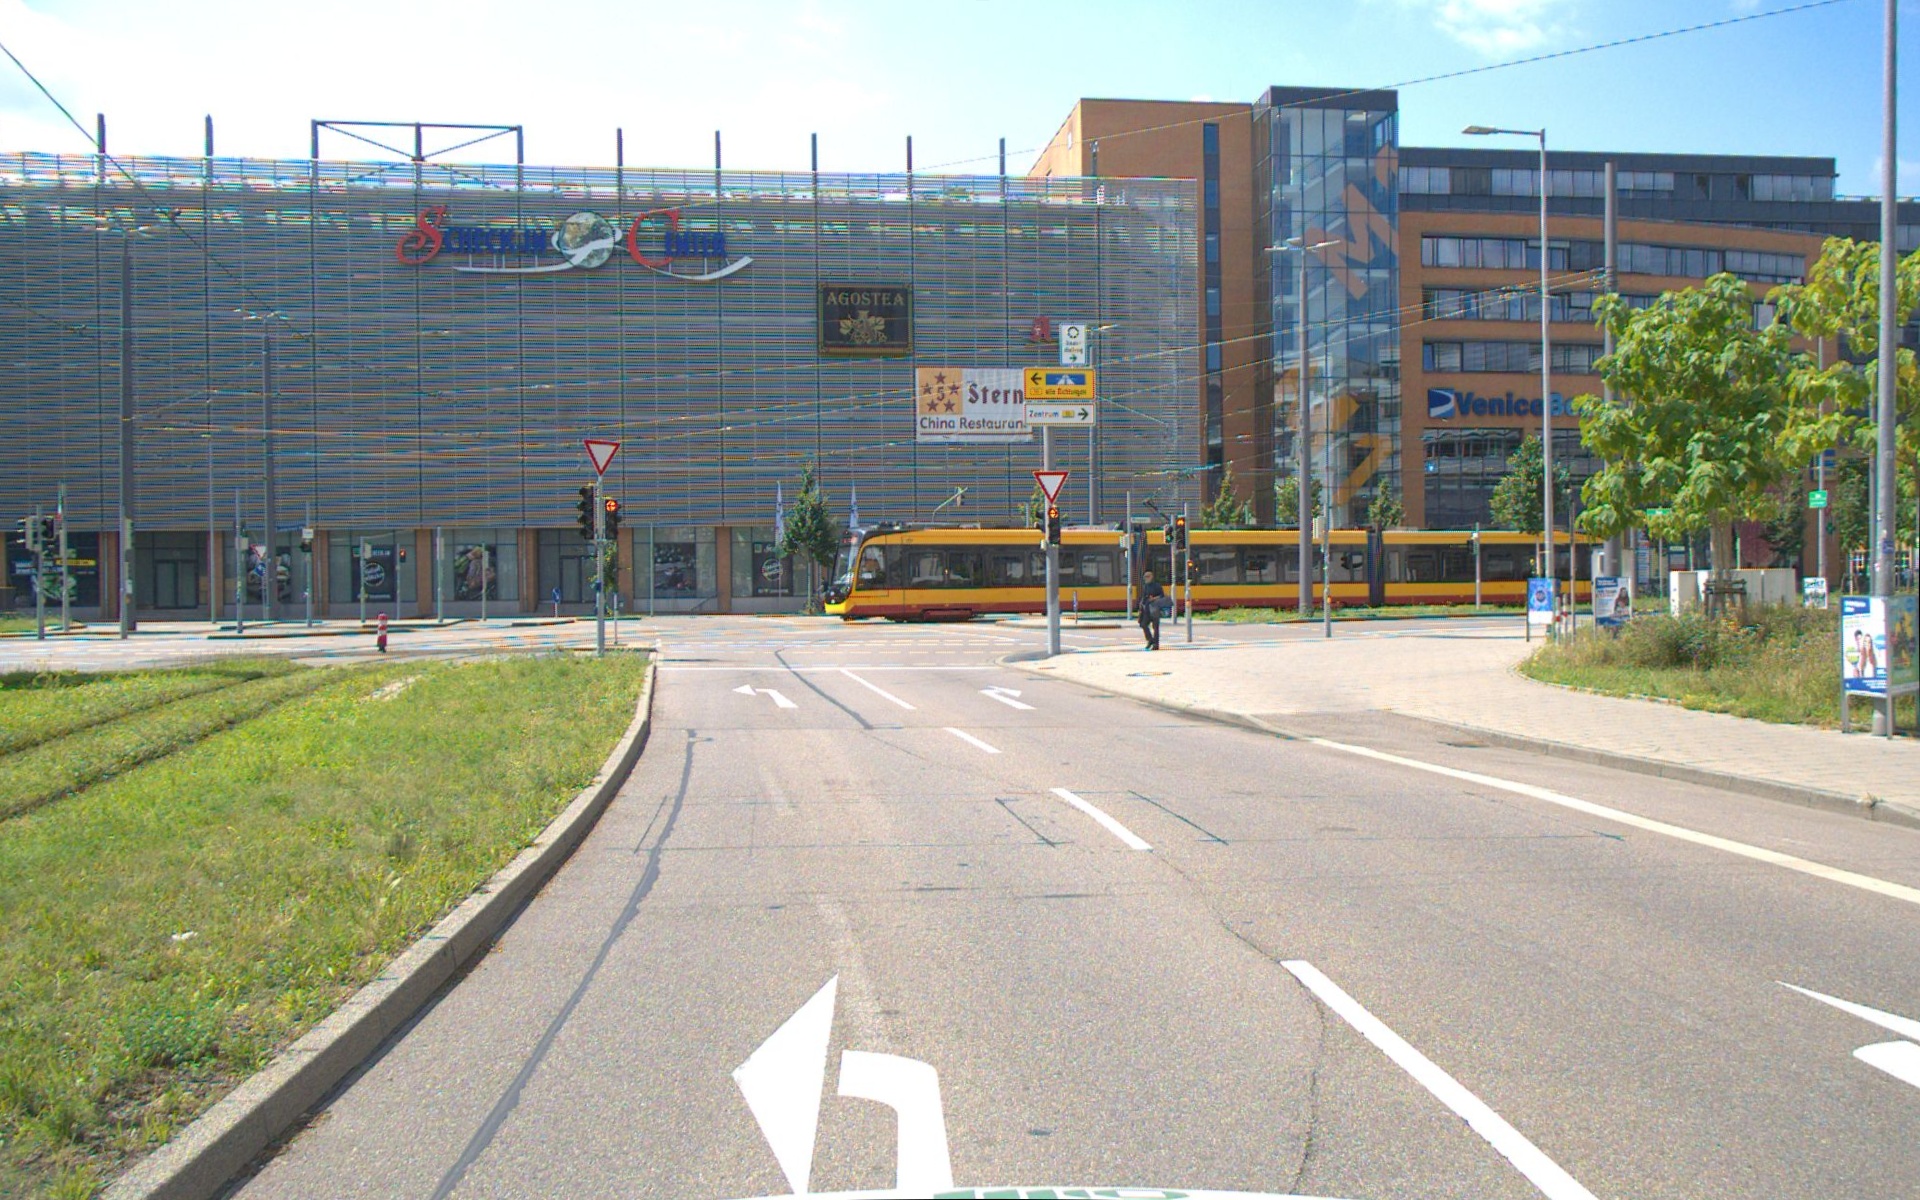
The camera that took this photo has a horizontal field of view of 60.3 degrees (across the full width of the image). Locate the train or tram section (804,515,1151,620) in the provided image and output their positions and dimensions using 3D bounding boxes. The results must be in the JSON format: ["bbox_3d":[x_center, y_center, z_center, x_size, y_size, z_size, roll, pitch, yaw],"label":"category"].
[{"bbox_3d":[0.861,-1.179,62.383,13.308,3.662,3.196,0,1,-29],"label":"train or tram section"}]

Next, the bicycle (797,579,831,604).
[{"bbox_3d":[-7.577,-0.443,85.861,1.727,1.245,0.583,0,0,-8],"label":"bicycle"}]

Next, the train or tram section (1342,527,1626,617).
[{"bbox_3d":[22.745,-1.169,71.656,12.403,3.684,3.049,0,1,-19],"label":"train or tram section"}]

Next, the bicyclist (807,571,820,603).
[{"bbox_3d":[-7.603,-0.659,85.852,0.650,1.652,0.550,0,0,-8],"label":"bicyclist"}]

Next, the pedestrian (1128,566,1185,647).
[{"bbox_3d":[4.330,0.136,36.421,0.800,1.732,0.906,-2,0,-37],"label":"pedestrian"}]

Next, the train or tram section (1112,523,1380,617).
[{"bbox_3d":[11.757,-1.195,67.712,10.796,3.666,3.047,0,1,-21],"label":"train or tram section"}]
